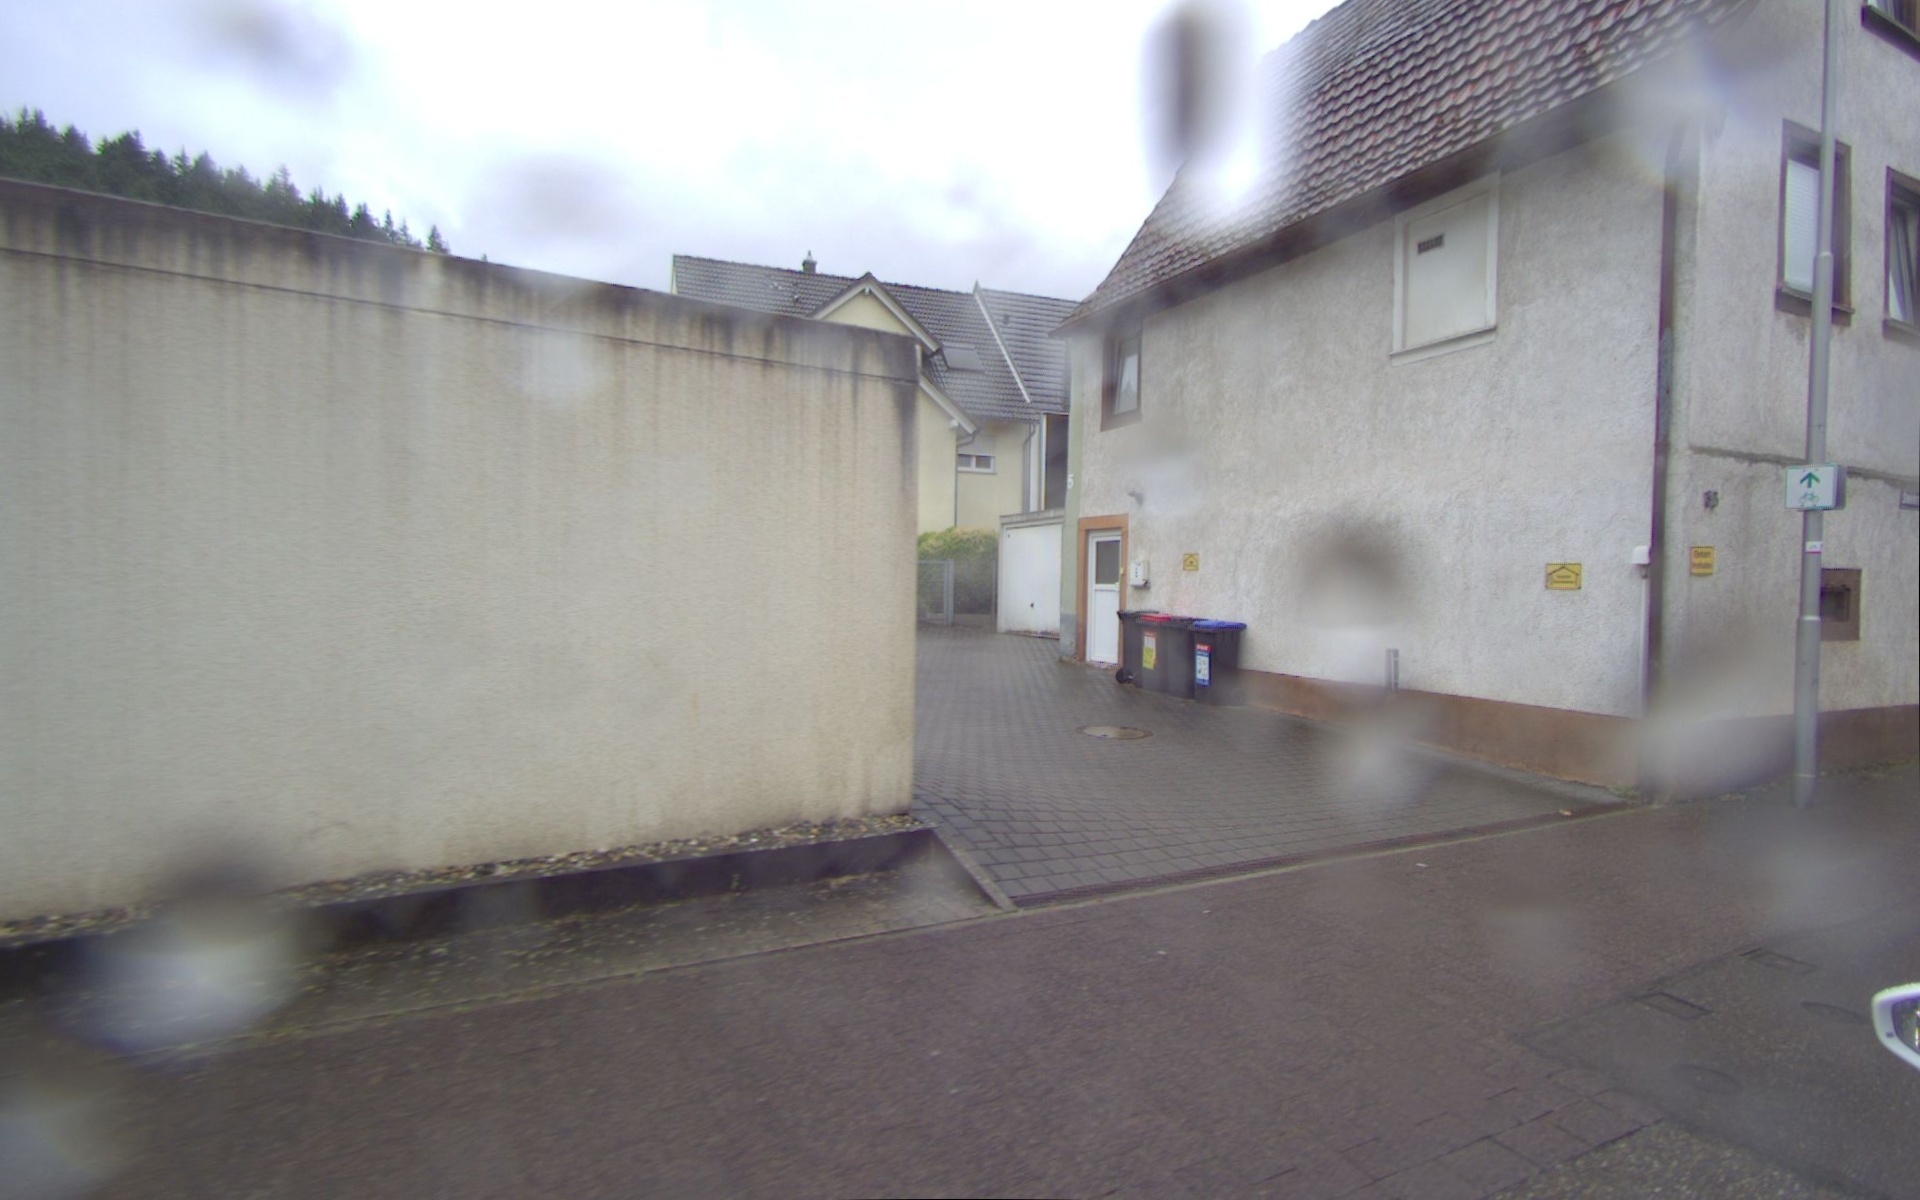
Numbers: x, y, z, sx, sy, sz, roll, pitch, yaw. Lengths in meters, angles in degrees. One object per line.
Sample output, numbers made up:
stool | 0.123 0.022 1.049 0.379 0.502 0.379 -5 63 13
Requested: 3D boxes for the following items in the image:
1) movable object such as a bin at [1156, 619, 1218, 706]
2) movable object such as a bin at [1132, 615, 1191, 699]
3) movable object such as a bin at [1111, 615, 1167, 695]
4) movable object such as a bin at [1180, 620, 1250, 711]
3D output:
movable object such as a bin | 2.666 0.720 11.812 0.502 0.963 0.448 0 3 -27
movable object such as a bin | 2.452 0.682 12.225 0.502 0.963 0.448 0 3 -27
movable object such as a bin | 2.250 0.678 12.657 0.502 0.963 0.448 0 3 -27
movable object such as a bin | 2.883 0.726 11.366 0.547 0.963 0.486 0 3 -27
